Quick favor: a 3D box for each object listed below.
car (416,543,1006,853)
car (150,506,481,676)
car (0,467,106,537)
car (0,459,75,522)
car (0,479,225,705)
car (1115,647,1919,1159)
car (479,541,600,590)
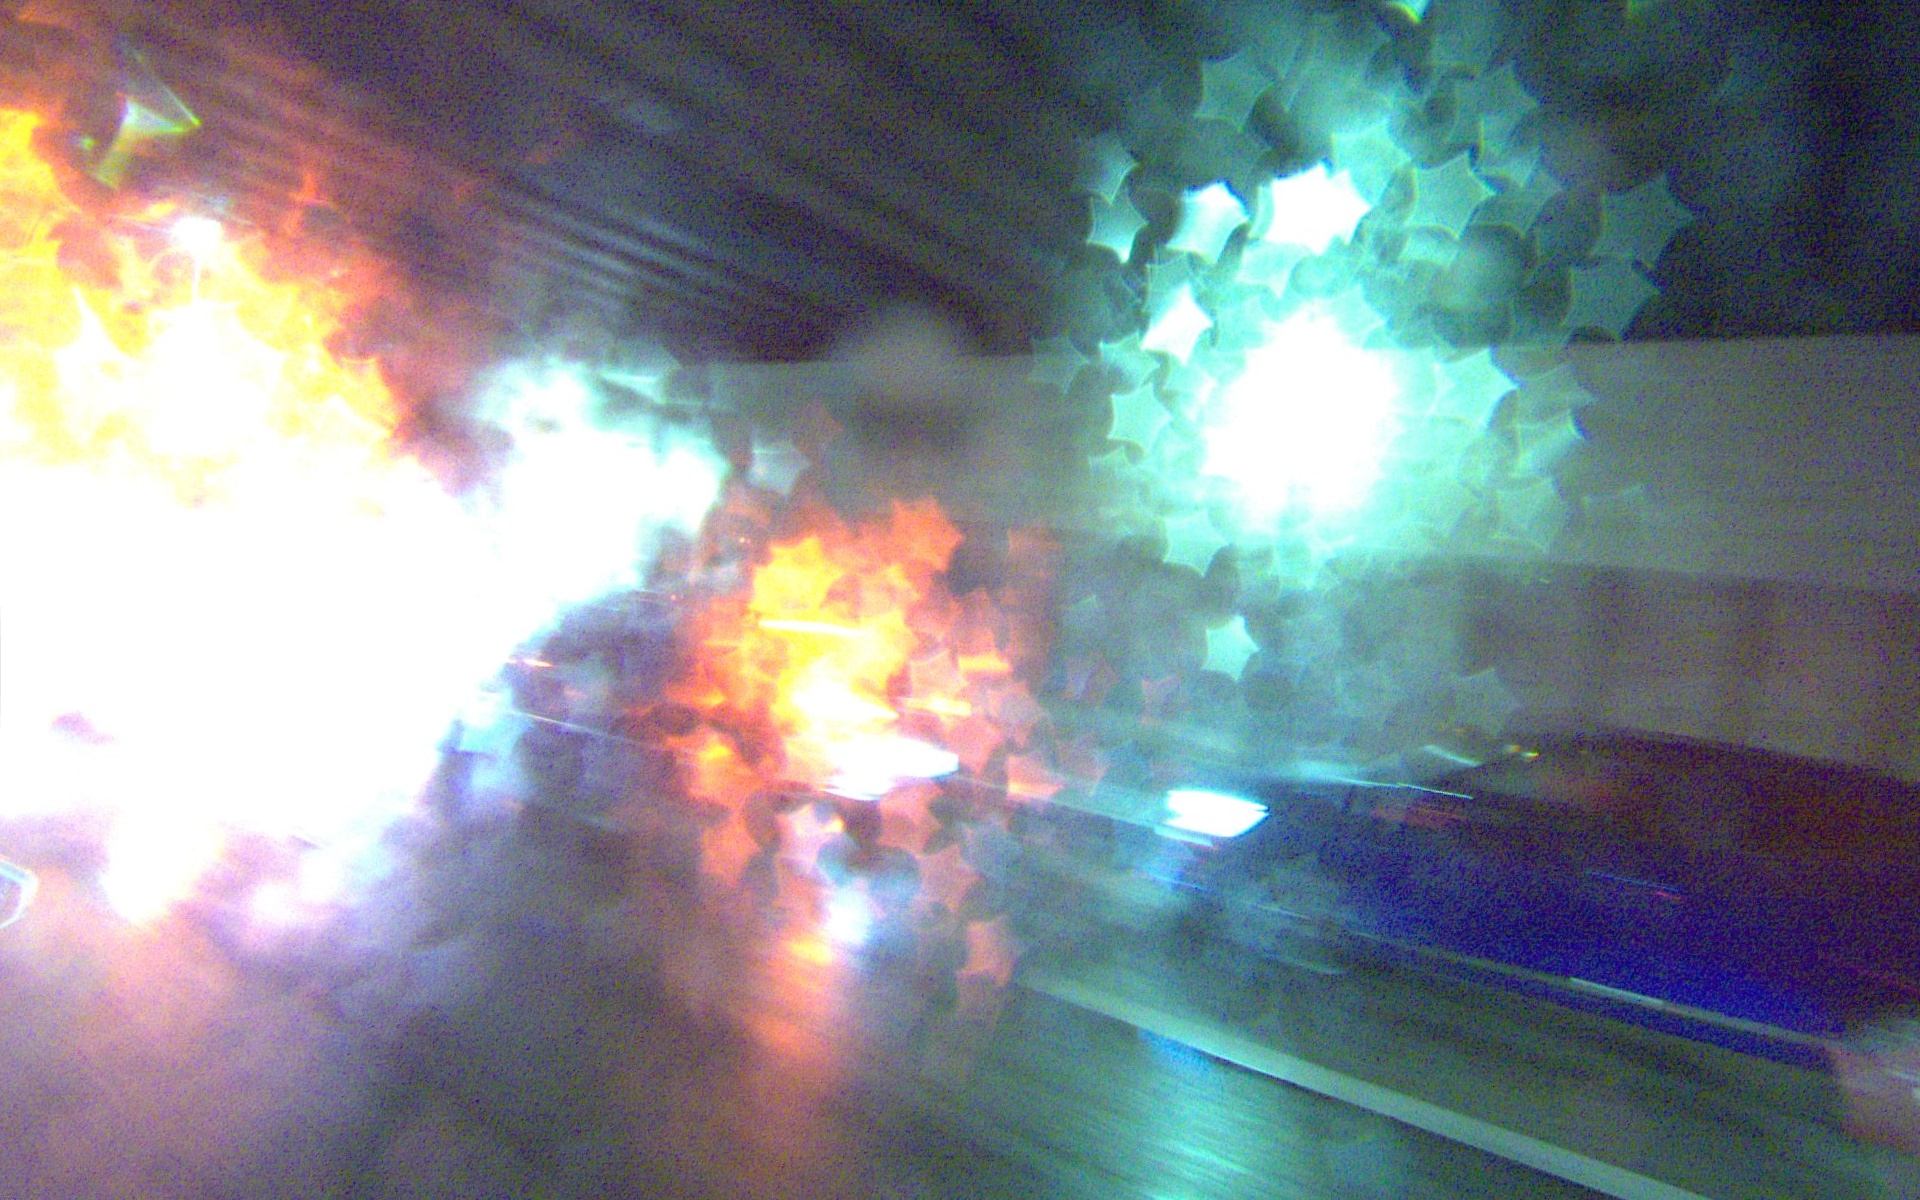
[{"bbox_3d":[-2.153,0.560,7.921,4.711,1.505,1.721,7,0,35],"label":"car"},{"bbox_3d":[-7.534,-0.145,11.638,4.096,1.465,1.720,7,1,35],"label":"car"},{"bbox_3d":[-27.823,-3.003,29.096,4.331,1.642,1.824,8,-1,-27],"label":"car"},{"bbox_3d":[-37.274,-4.403,38.777,4.262,2.037,2.029,8,-1,-31],"label":"car"},{"bbox_3d":[-7.700,-0.224,7.989,4.097,1.464,1.721,7,0,36],"label":"car"},{"bbox_3d":[3.089,1.259,5.087,4.092,1.506,1.721,7,1,31],"label":"car"},{"bbox_3d":[-19.711,-1.598,47.349,1.828,1.609,4.844,7,-1,42],"label":"car"}]
